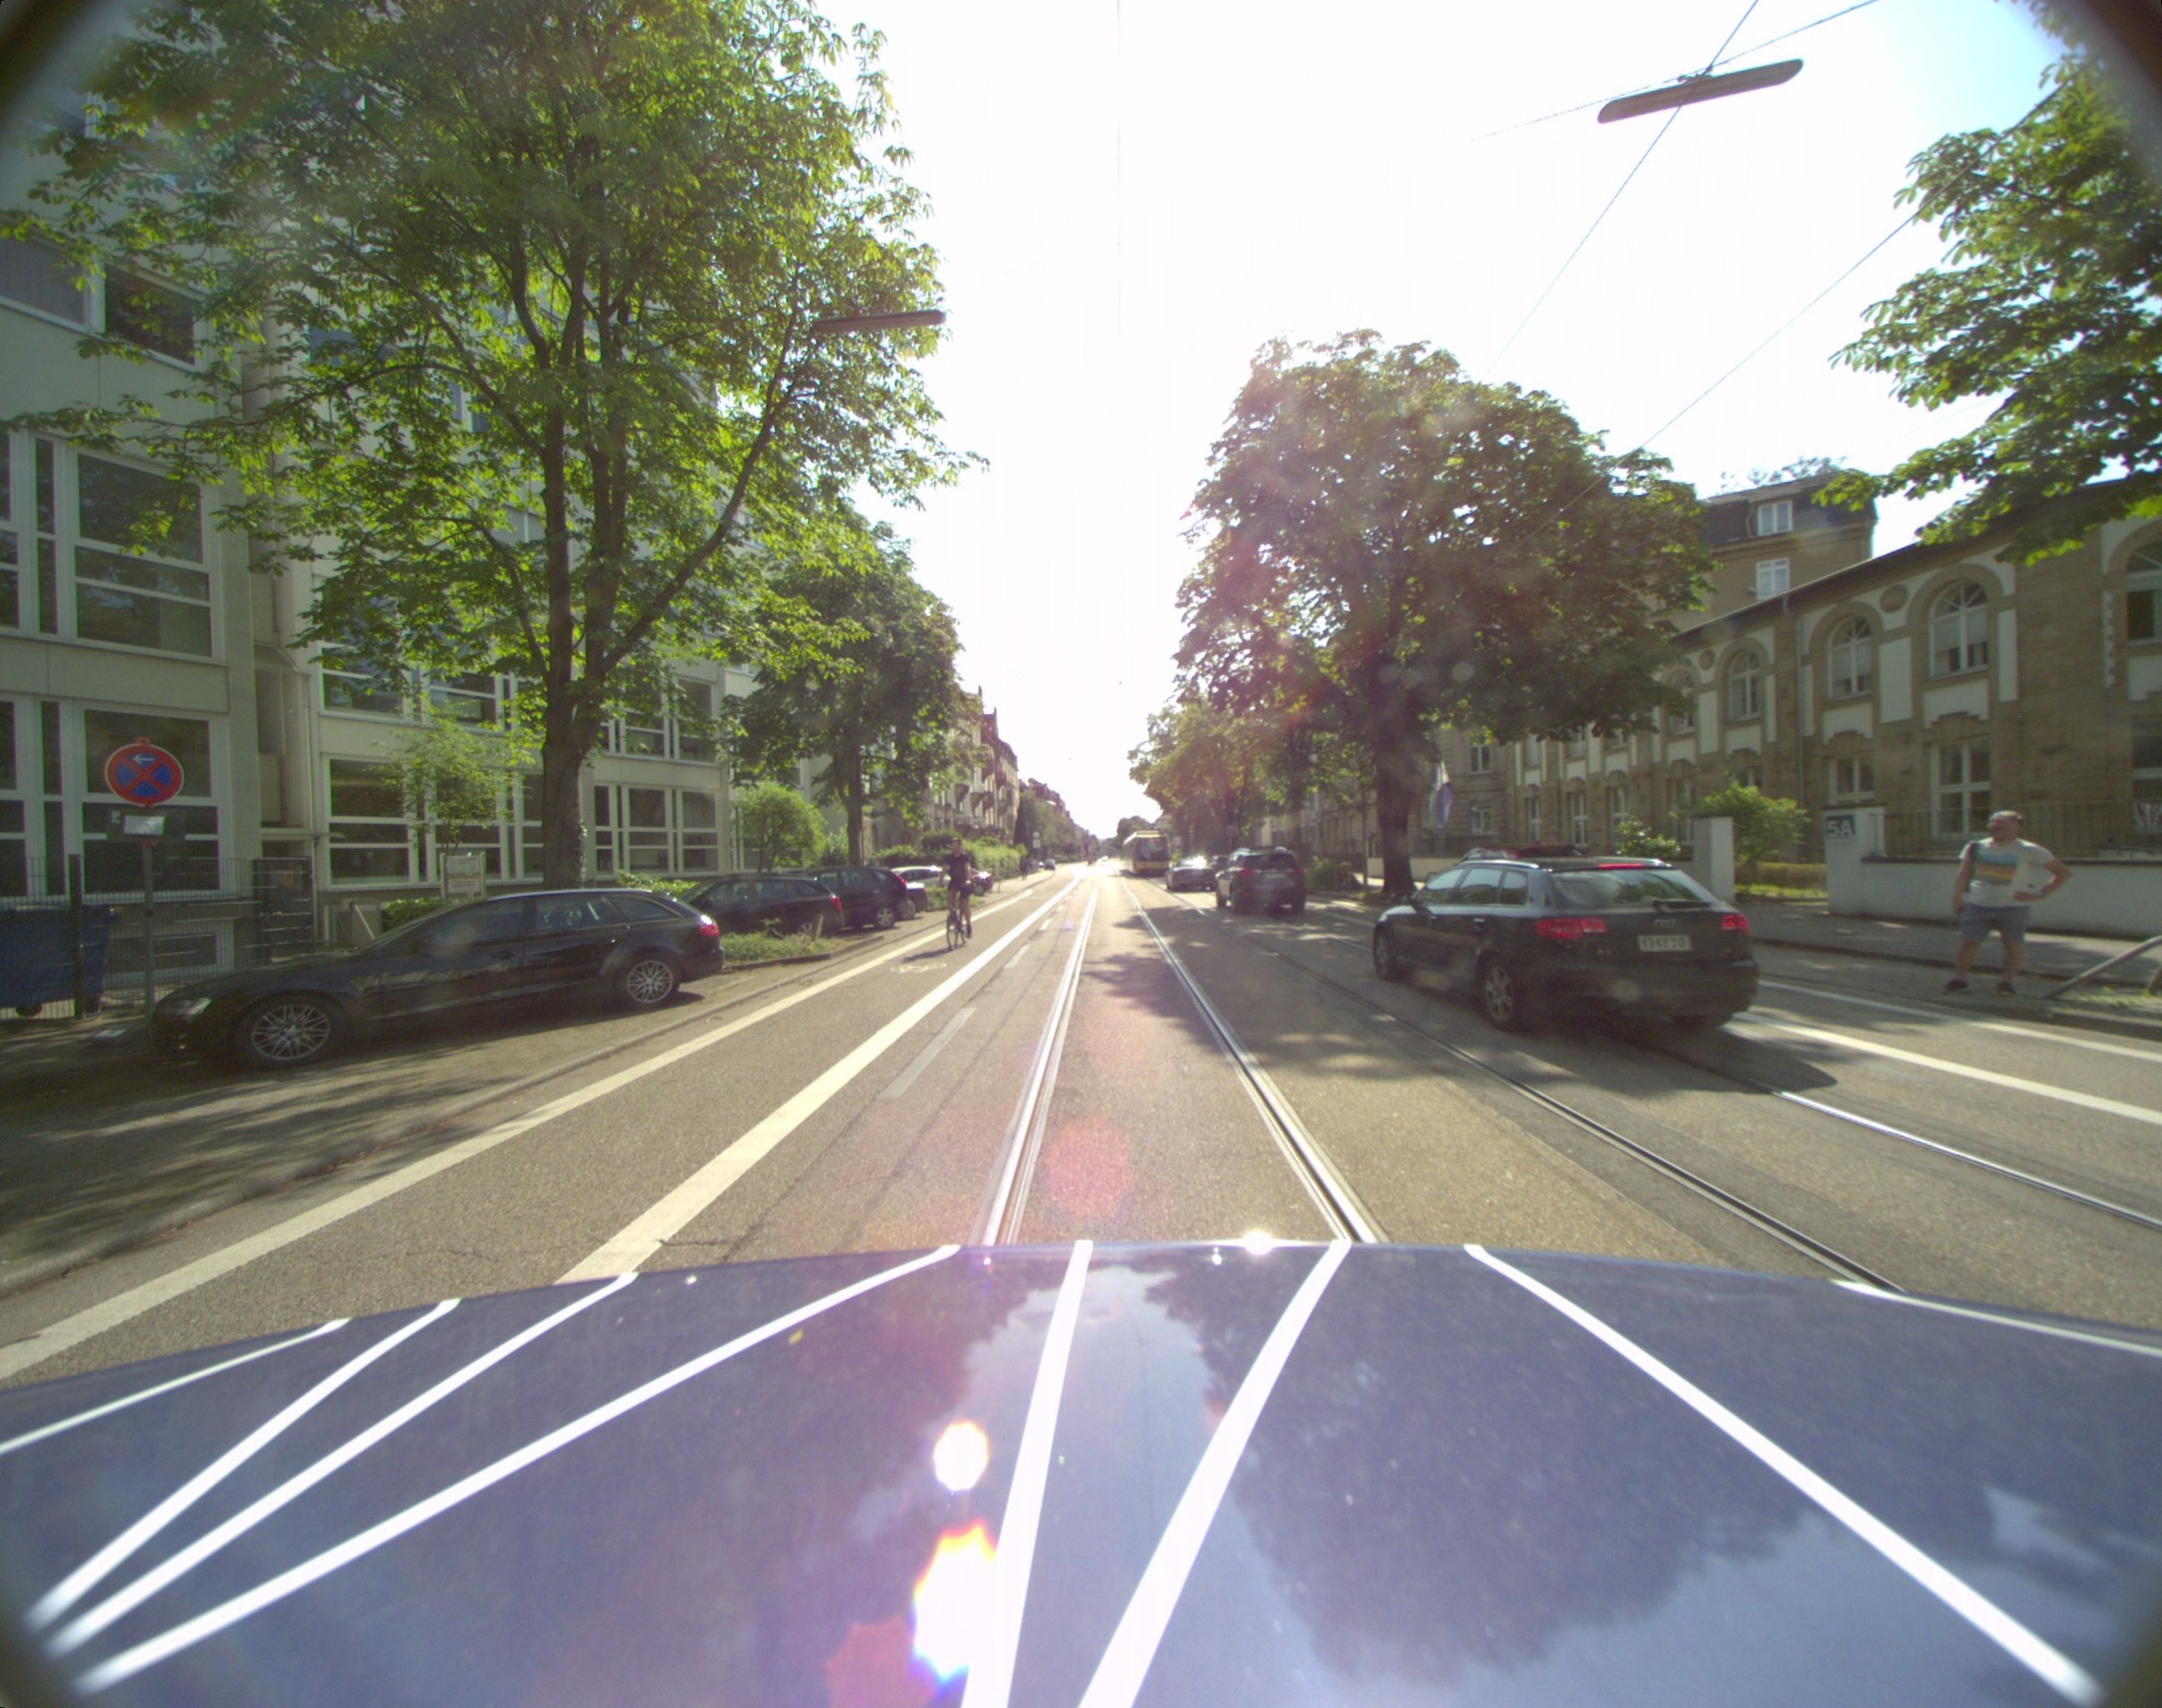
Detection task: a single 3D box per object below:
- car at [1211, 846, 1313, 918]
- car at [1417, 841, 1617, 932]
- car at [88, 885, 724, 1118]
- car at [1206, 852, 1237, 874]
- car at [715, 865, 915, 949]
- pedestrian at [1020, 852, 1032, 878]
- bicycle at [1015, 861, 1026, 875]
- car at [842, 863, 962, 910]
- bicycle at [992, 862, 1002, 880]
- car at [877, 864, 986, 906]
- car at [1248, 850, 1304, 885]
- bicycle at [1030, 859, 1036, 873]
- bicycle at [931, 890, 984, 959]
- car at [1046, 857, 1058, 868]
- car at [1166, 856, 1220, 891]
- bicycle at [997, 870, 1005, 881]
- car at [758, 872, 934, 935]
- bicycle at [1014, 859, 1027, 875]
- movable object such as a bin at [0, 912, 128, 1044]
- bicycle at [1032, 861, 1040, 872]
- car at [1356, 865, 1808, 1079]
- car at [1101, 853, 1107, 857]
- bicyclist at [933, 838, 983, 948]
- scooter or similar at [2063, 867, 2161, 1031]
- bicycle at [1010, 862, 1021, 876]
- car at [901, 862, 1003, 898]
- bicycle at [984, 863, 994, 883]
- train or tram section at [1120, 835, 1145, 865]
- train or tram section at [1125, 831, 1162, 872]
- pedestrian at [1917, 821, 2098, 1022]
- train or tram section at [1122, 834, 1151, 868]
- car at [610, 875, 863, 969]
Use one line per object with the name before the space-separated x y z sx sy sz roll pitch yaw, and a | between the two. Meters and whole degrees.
car | 4.747 0.685 20.544 1.830 1.717 4.392 -1 0 2
car | 9.427 0.614 16.974 1.754 1.656 4.720 -3 0 1
car | -6.601 1.232 8.123 4.544 1.434 2.026 -4 1 -44
car | 10.786 0.679 58.613 1.658 1.476 3.808 -3 1 1
car | -6.253 1.179 18.063 4.007 1.565 1.900 -3 0 -40
pedestrian | -3.968 0.794 54.650 0.790 1.851 0.580 1 1 -6
bicycle | -4.687 1.099 58.758 0.612 0.990 2.362 1 1 1
car | -6.467 1.141 27.727 4.008 1.452 1.531 -2 0 -44
bicycle | -5.236 1.055 47.540 0.280 1.102 2.011 2 1 2
car | -6.087 1.226 31.108 4.007 1.440 1.695 -2 0 -41
car | 10.241 0.670 40.197 1.811 1.631 4.331 -3 1 1
bicycle | -4.368 1.057 69.682 0.452 1.253 1.844 1 0 -1
bicycle | -2.265 1.270 14.169 0.617 1.039 1.835 2 2 2
car | -3.884 1.141 102.950 1.517 1.490 2.794 1 0 -1
car | 4.800 0.822 33.169 1.803 1.380 4.426 -1 0 1
bicycle | -5.185 1.389 49.456 0.280 0.673 1.559 2 1 2
car | -6.411 1.289 21.008 4.183 1.341 1.900 -3 0 -43
bicycle | -4.932 1.027 62.235 0.742 1.224 2.516 -1 1 1
movable object such as a bin | -12.093 1.383 8.433 1.278 1.311 1.325 -2 1 2
bicycle | -4.447 1.224 74.947 0.600 0.955 3.066 2 0 -1
car | 4.200 0.849 7.269 1.727 1.368 4.000 -1 1 1
car | 7.720 0.366 253.370 1.860 1.455 4.000 -2 0 2
bicyclist | -2.258 0.698 14.109 0.608 1.937 1.130 -3 1 1
scooter or similar | 9.454 0.766 6.351 1.342 1.272 0.855 -3 1 0
bicycle | -4.829 1.098 56.361 0.614 0.983 1.872 1 1 1
car | -5.773 1.131 34.273 4.168 1.415 1.861 -1 0 -41
bicycle | -5.326 1.087 44.023 0.280 1.102 2.011 2 1 2
train or tram section | 6.351 -0.565 94.501 2.659 3.417 12.315 0 1 2
train or tram section | 5.543 -0.281 69.845 2.659 3.336 14.108 0 1 2
pedestrian | 8.754 0.605 7.207 0.790 1.756 0.752 -3 1 -8
train or tram section | 5.974 -0.352 82.646 2.659 3.369 11.473 0 1 2
car | -6.539 1.214 14.697 4.084 1.434 1.722 -1 -2 -42
